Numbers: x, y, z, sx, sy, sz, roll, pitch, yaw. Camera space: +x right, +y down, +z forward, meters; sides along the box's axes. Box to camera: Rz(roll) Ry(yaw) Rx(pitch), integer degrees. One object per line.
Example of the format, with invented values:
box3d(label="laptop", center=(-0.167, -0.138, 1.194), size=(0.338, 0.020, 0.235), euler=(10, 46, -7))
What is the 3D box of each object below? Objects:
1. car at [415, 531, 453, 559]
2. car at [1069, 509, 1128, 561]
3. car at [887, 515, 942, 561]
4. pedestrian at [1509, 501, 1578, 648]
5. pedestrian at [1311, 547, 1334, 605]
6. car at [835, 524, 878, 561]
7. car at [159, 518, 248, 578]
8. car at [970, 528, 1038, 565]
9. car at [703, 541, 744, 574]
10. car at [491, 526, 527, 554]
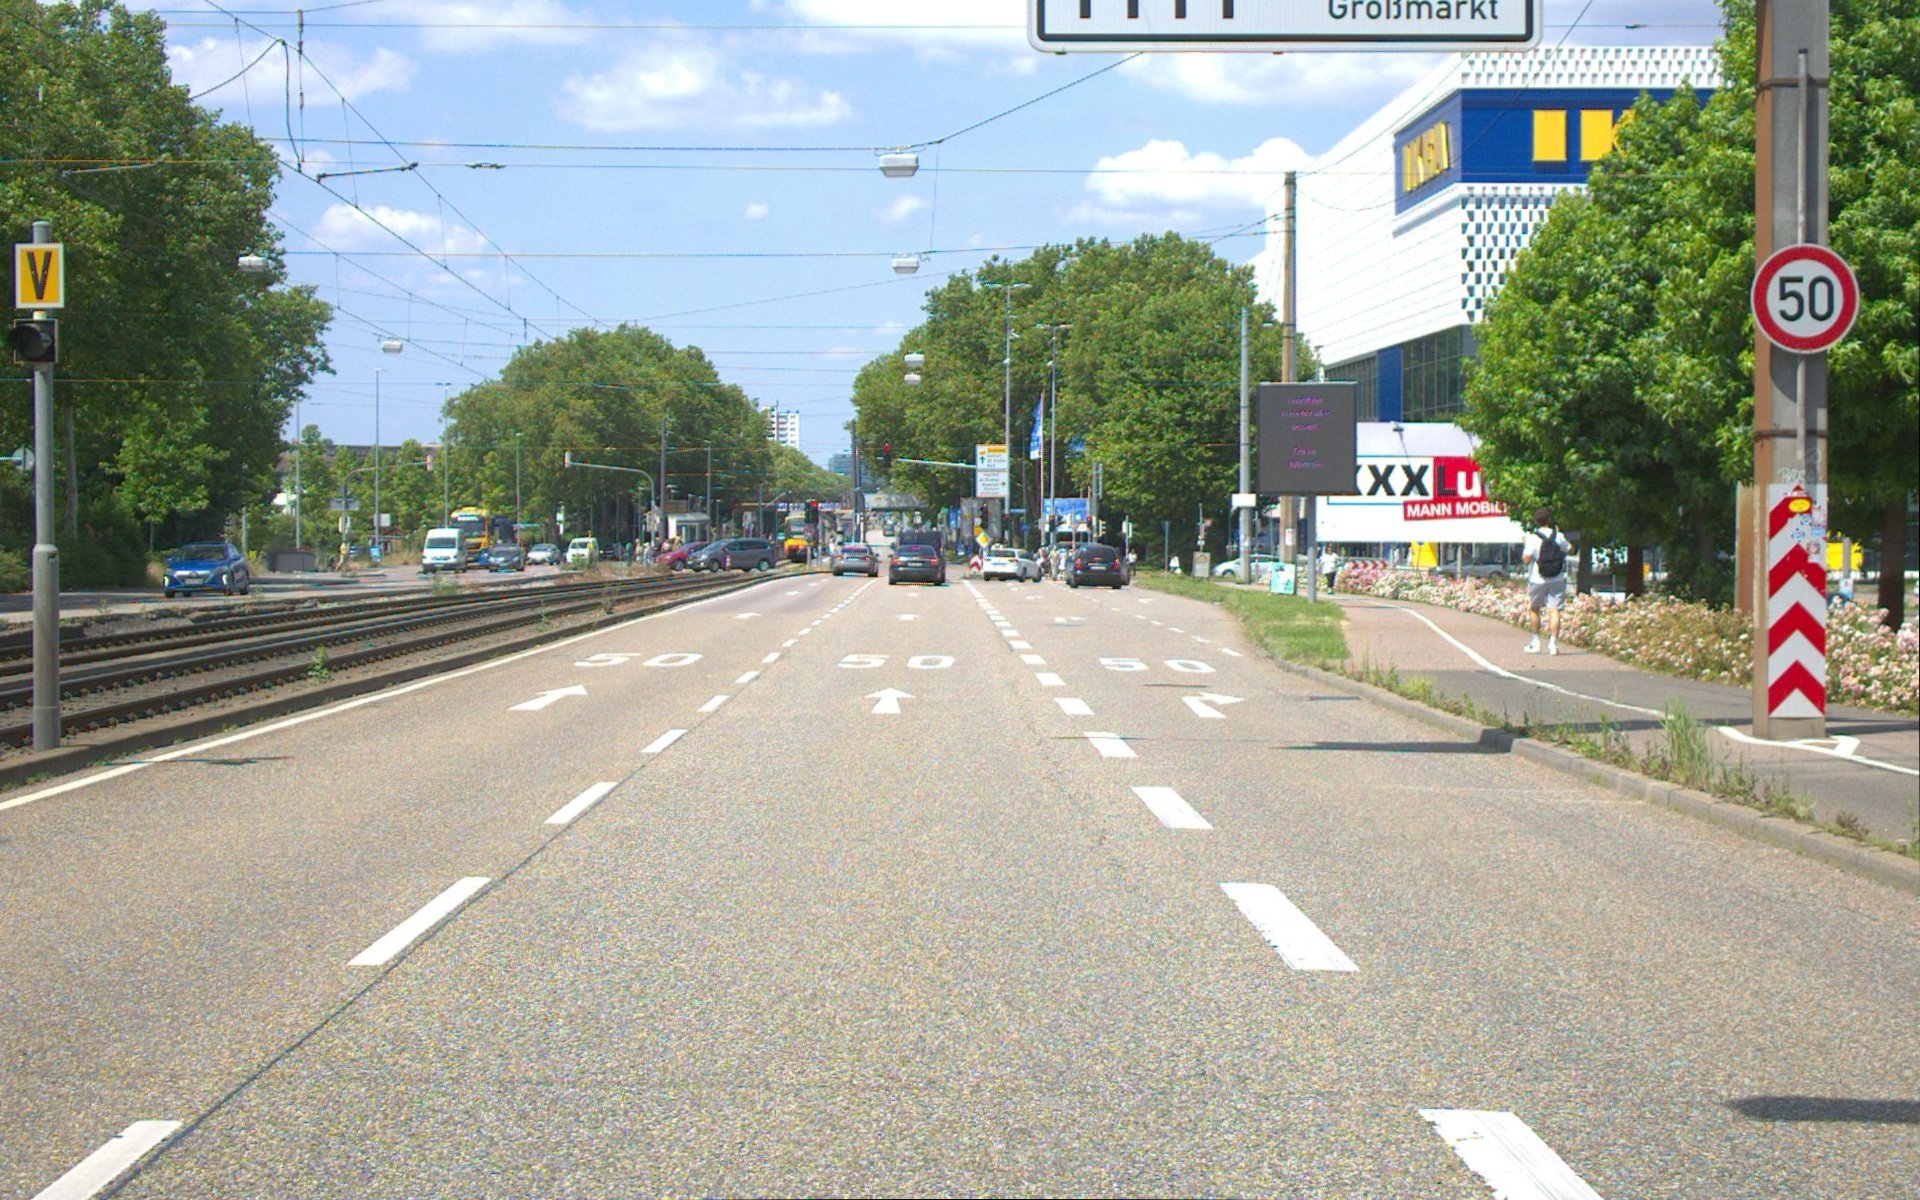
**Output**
box3d(label="car", center=(-30.123, -3.144, 196.964), size=(1.623, 1.544, 3.704), euler=(2, 1, -1))
box3d(label="car", center=(5.003, -2.368, 124.599), size=(1.899, 1.799, 3.977), euler=(2, 1, 0))
box3d(label="car", center=(-1.615, -2.183, 121.133), size=(1.876, 1.534, 3.777), euler=(2, 1, -1))
box3d(label="pedestrian", center=(7.271, -0.326, 42.876), size=(0.669, 1.786, 0.924), euler=(2, 1, 1))
box3d(label="pedestrian", center=(11.224, -0.747, 106.544), size=(0.580, 1.786, 0.590), euler=(1, 1, -3))
box3d(label="car", center=(-4.639, -2.602, 154.257), size=(1.842, 1.544, 3.777), euler=(2, 1, -2))
box3d(label="car", center=(-20.552, -1.434, 93.497), size=(1.644, 1.545, 4.217), euler=(1, 1, -3))
box3d(label="car", center=(1.964, -2.360, 152.287), size=(1.687, 1.544, 3.979), euler=(2, 1, 22))
box3d(label="car", center=(-11.780, -2.116, 171.258), size=(1.842, 1.544, 3.777), euler=(2, 1, -2))
box3d(label="car", center=(-26.062, -3.467, 198.752), size=(1.623, 1.544, 3.704), euler=(2, 1, -1))
